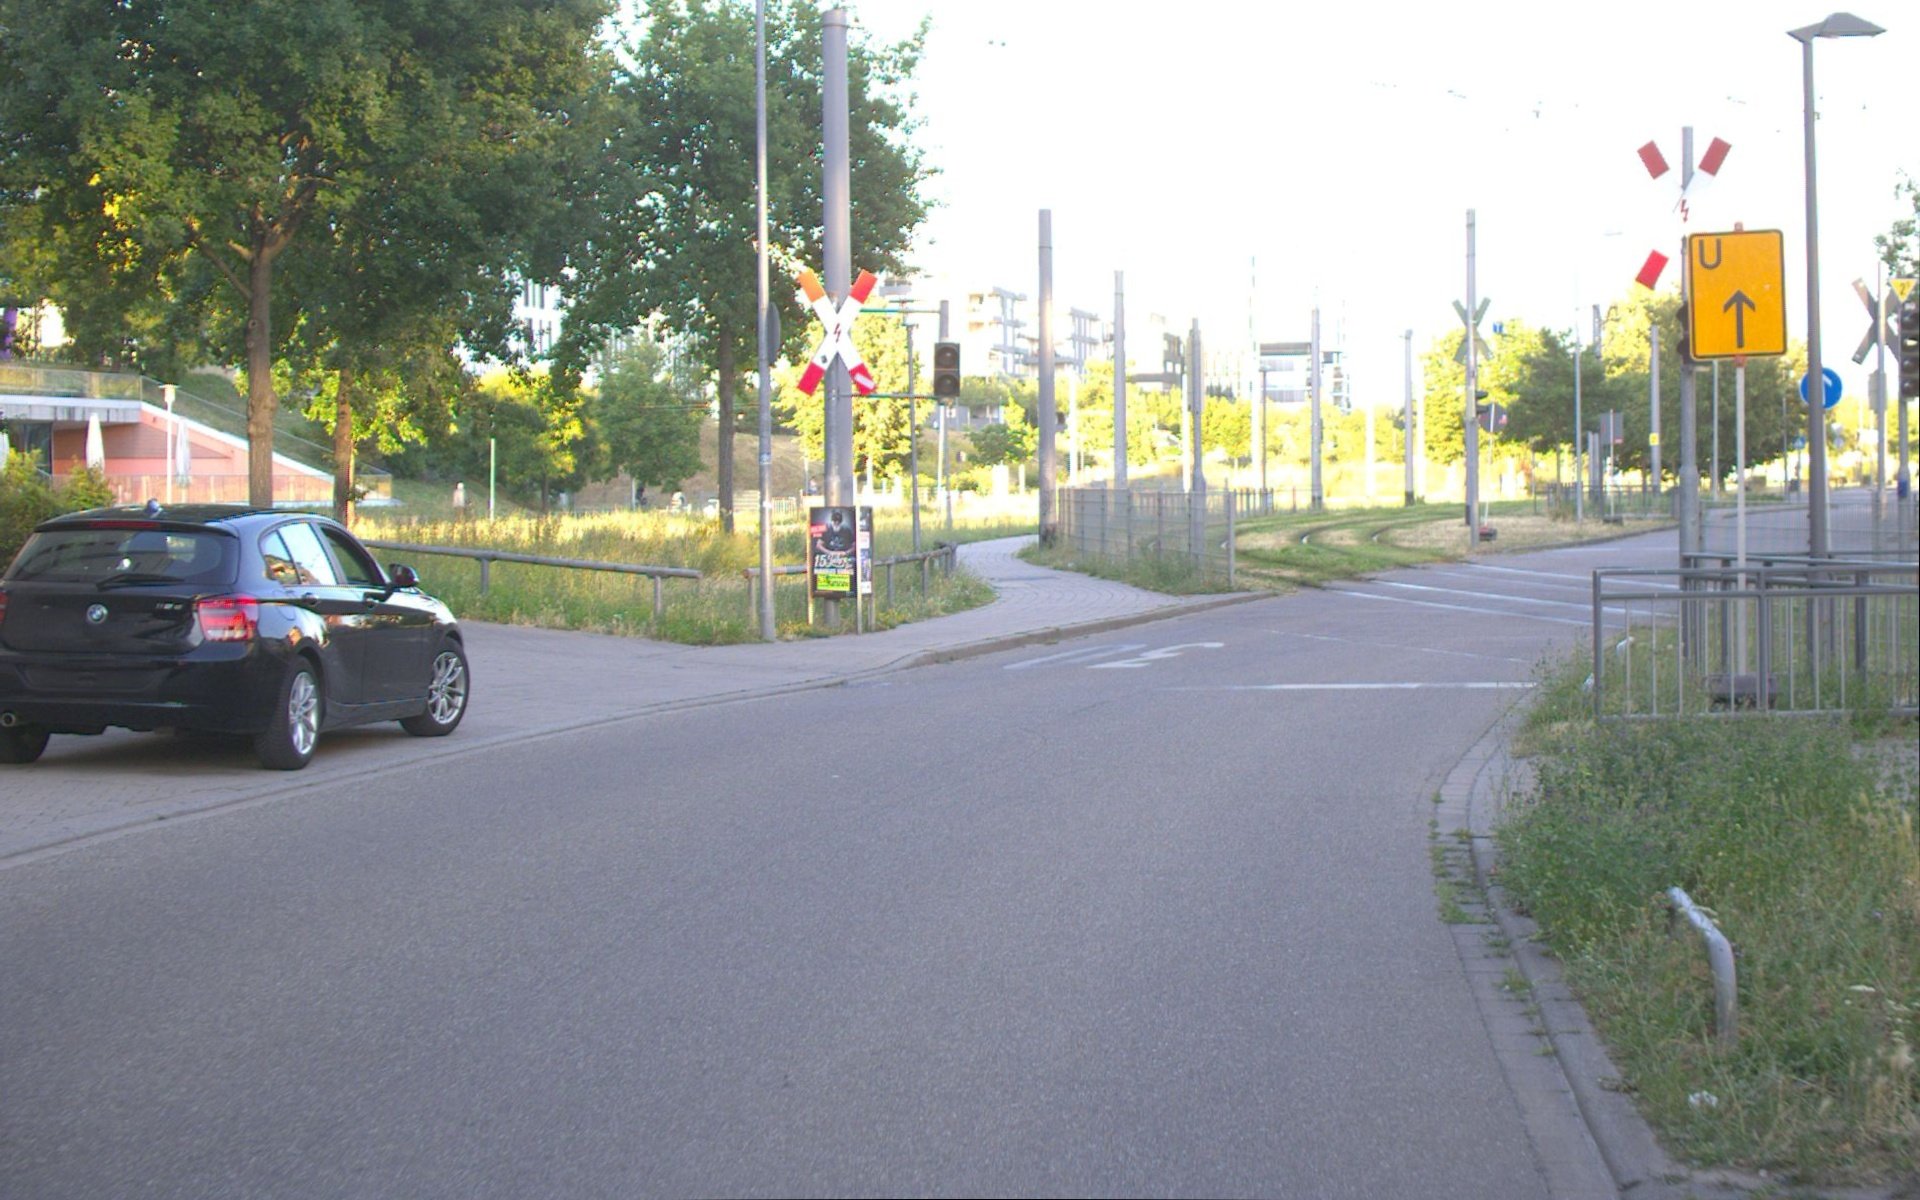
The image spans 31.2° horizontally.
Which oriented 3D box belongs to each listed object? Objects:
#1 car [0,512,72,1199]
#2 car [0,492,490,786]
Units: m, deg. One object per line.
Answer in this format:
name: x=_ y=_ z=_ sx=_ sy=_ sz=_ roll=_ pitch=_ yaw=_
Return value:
car: x=-2.954 y=0.605 z=5.157 sx=1.778 sy=1.417 sz=4.515 roll=0 pitch=2 yaw=4
car: x=-4.248 y=0.124 z=19.573 sx=1.945 sy=1.378 sz=4.398 roll=2 pitch=3 yaw=8
